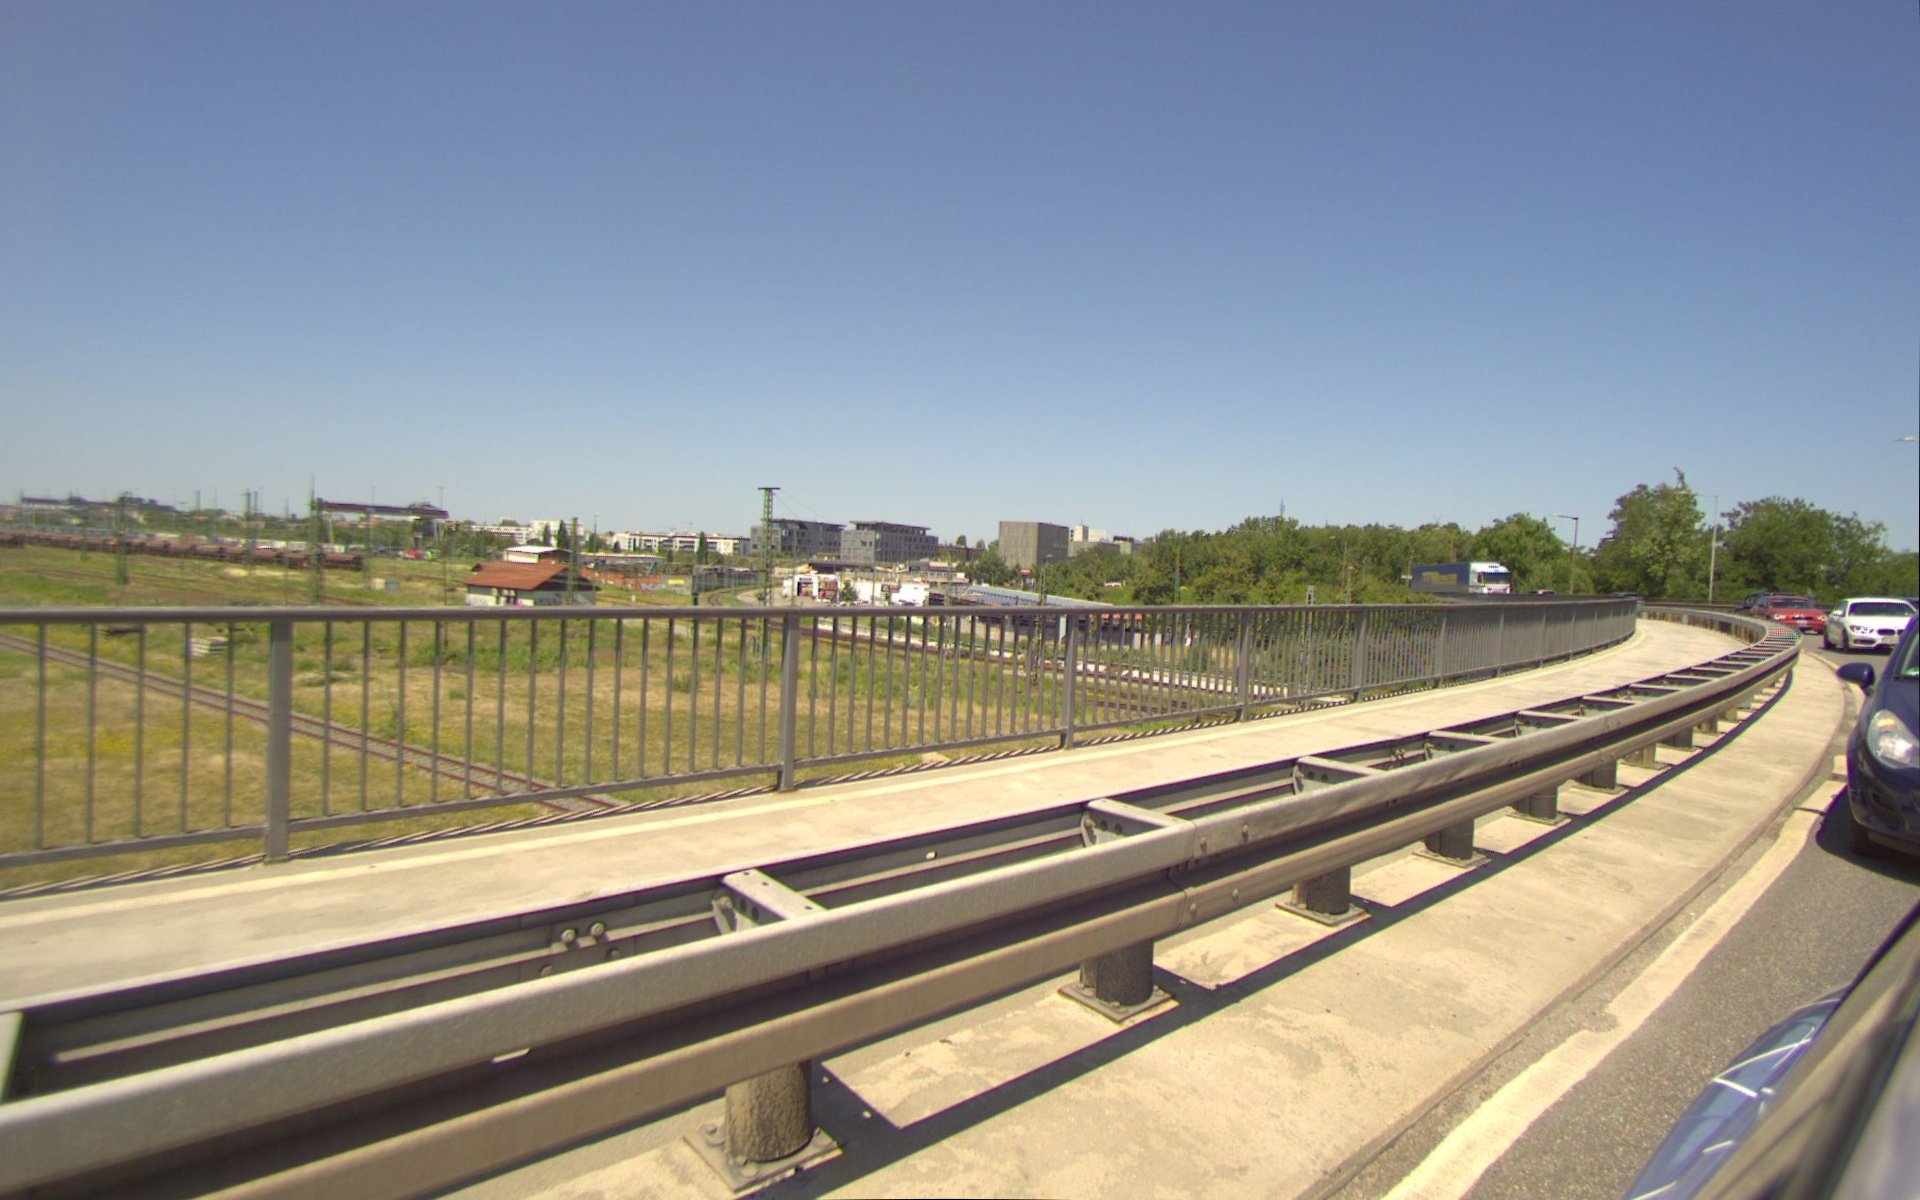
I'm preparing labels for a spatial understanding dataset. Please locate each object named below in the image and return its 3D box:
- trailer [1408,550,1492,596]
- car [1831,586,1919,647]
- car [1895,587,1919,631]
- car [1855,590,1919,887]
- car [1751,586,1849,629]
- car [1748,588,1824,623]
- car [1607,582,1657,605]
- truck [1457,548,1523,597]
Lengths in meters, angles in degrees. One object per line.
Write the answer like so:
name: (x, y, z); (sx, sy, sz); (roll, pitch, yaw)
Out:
trailer: (49.039, -2.675, 101.834); (2.652, 4.287, 12.707); (0, 1, 2)
car: (24.300, 0.368, 26.539); (1.784, 1.473, 4.465); (1, 1, 36)
car: (33.880, 0.320, 34.802); (1.765, 1.456, 4.341); (2, 2, 33)
car: (6.503, 0.676, 5.925); (3.935, 1.457, 1.641); (0, 1, -45)
car: (32.047, 0.230, 38.753); (1.777, 1.473, 4.484); (2, 2, 25)
car: (42.021, 0.238, 51.572); (1.757, 1.646, 4.223); (1, 1, 22)
car: (48.798, -0.488, 73.562); (1.756, 1.526, 4.174); (2, 2, 15)
truck: (48.723, -2.521, 93.301); (2.647, 4.281, 6.836); (-1, 1, 2)
